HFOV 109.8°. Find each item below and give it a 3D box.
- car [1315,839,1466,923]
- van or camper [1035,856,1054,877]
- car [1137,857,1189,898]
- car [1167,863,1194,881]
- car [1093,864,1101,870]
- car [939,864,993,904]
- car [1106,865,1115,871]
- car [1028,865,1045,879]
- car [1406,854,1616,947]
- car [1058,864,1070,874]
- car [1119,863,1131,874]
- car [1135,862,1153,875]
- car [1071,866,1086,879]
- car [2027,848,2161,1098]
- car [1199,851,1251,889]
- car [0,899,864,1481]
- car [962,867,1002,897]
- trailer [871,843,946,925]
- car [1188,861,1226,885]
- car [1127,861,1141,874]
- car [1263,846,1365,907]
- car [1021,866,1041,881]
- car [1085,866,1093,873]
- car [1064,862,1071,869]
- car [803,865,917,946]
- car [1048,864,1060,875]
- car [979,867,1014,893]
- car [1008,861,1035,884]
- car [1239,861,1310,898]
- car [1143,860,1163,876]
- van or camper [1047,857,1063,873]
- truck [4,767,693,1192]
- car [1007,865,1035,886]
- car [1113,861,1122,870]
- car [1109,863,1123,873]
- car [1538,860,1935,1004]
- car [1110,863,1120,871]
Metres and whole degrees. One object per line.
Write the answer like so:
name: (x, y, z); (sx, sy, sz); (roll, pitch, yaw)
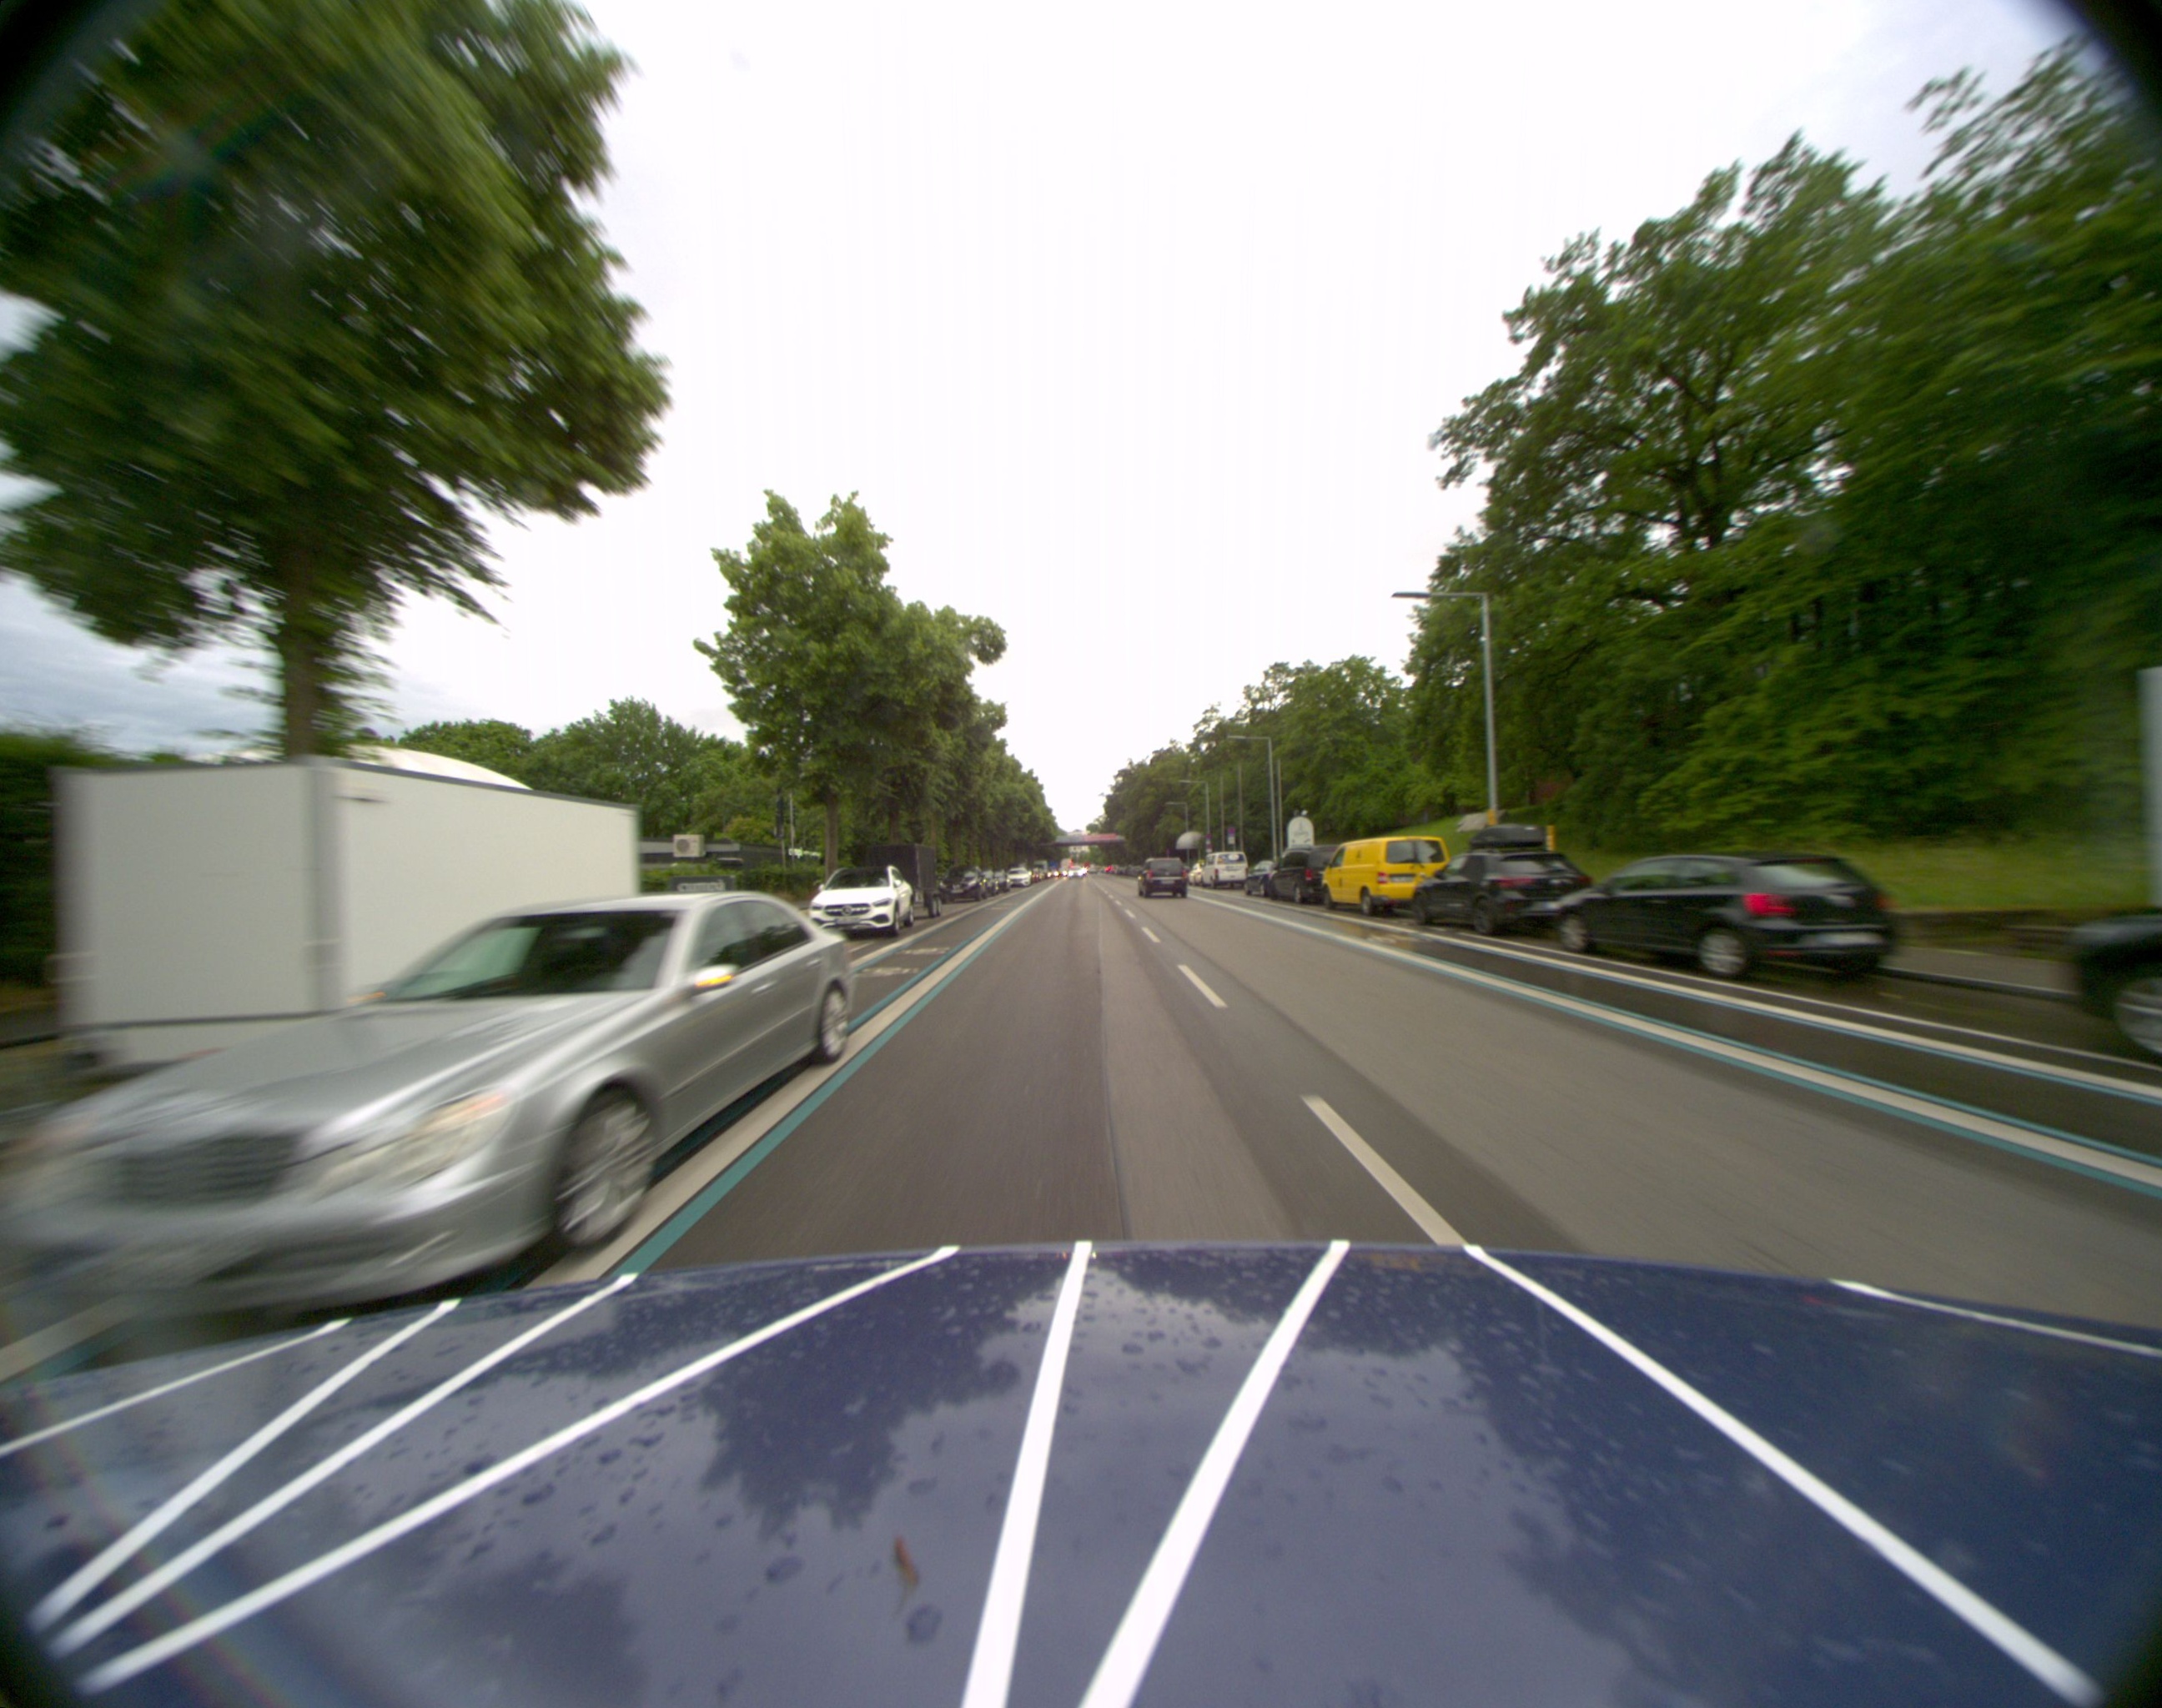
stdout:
car: (7.987, 0.655, 20.221); (1.998, 1.902, 4.845); (-2, -1, 0)
van or camper: (-4.966, 1.730, 104.680); (2.129, 2.694, 6.847); (-3, 0, 0)
car: (3.377, 0.948, 31.800); (1.715, 1.608, 4.150); (0, -1, 0)
car: (7.898, 1.384, 60.551); (1.680, 1.363, 3.586); (-1, -1, 0)
car: (3.675, 3.036, 176.827); (1.828, 1.453, 3.883); (-3, -2, 0)
car: (-5.147, 1.300, 34.443); (1.694, 1.562, 4.339); (-4, 0, 0)
car: (7.273, 3.461, 185.667); (1.870, 1.280, 3.999); (-1, 0, -3)
car: (-4.915, 1.960, 83.863); (1.581, 1.381, 4.188); (-3, 0, 0)
car: (7.952, 0.791, 14.549); (1.714, 1.495, 4.151); (-1, -1, 1)
car: (-2.724, 2.389, 121.441); (1.733, 1.578, 3.671); (-3, 0, 0)
car: (7.716, 2.582, 134.505); (1.823, 1.732, 3.744); (-1, -2, -1)
car: (7.840, 1.866, 94.525); (1.822, 1.533, 4.544); (-1, -2, 0)
car: (-0.316, 2.295, 95.403); (1.828, 1.453, 3.882); (-3, 0, 0)
car: (7.864, 0.733, 3.235); (1.829, 1.606, 4.663); (-1, -1, 0)
car: (7.966, 0.862, 42.360); (1.877, 1.965, 4.735); (-1, -1, -1)
car: (-2.815, 1.109, 4.478); (1.726, 1.390, 4.591); (-2, 0, 0)
car: (-5.145, 1.425, 40.018); (1.694, 1.417, 3.999); (-2, 0, -2)
trailer: (-5.215, 0.853, 23.306); (1.350, 2.256, 3.564); (-3, 0, 0)
car: (7.970, 1.193, 48.371); (1.731, 1.439, 4.595); (-1, -1, 1)
car: (7.995, 2.071, 114.197); (1.822, 1.848, 3.744); (-1, -2, 0)
car: (7.922, 0.732, 26.395); (1.881, 1.909, 5.204); (0, -1, 0)
car: (-5.002, 1.932, 76.310); (1.581, 1.381, 4.188); (-3, 0, 0)
car: (2.091, 4.061, 199.387); (1.823, 1.586, 3.743); (-1, -2, -2)
car: (-4.453, 3.883, 258.211); (2.326, 2.342, 5.002); (-1, -1, 0)
car: (-5.036, 1.093, 17.924); (1.761, 1.575, 4.412); (-2, 0, -6)
car: (-4.620, 2.628, 129.304); (1.733, 1.578, 3.671); (-3, 0, 0)
car: (-5.090, 1.539, 46.037); (1.690, 1.374, 4.083); (-3, 0, -1)
car: (-5.113, 1.542, 65.638); (1.847, 1.865, 4.616); (-3, -1, 0)
car: (8.054, 1.019, 32.033); (1.688, 1.450, 4.611); (-1, -1, -1)
car: (8.071, 1.615, 85.414); (1.822, 1.755, 4.001); (-1, -2, 0)
van or camper: (-4.626, 1.924, 135.607); (2.642, 2.618, 5.742); (-2, 0, 0)
truck: (-5.132, 0.715, 6.271); (1.723, 2.320, 4.000); (-2, 0, 0)
car: (-4.720, 1.664, 60.088); (1.824, 1.477, 4.292); (-2, 0, 0)
car: (8.199, 2.660, 170.599); (1.823, 1.940, 3.743); (-1, -2, -2)
car: (6.685, 2.671, 144.979); (1.824, 1.732, 3.740); (-1, -2, -12)
car: (7.908, 0.820, 9.780); (1.612, 1.437, 4.038); (-1, -1, 0)
car: (7.271, 2.808, 161.365); (1.823, 1.586, 3.743); (-1, -2, -2)
